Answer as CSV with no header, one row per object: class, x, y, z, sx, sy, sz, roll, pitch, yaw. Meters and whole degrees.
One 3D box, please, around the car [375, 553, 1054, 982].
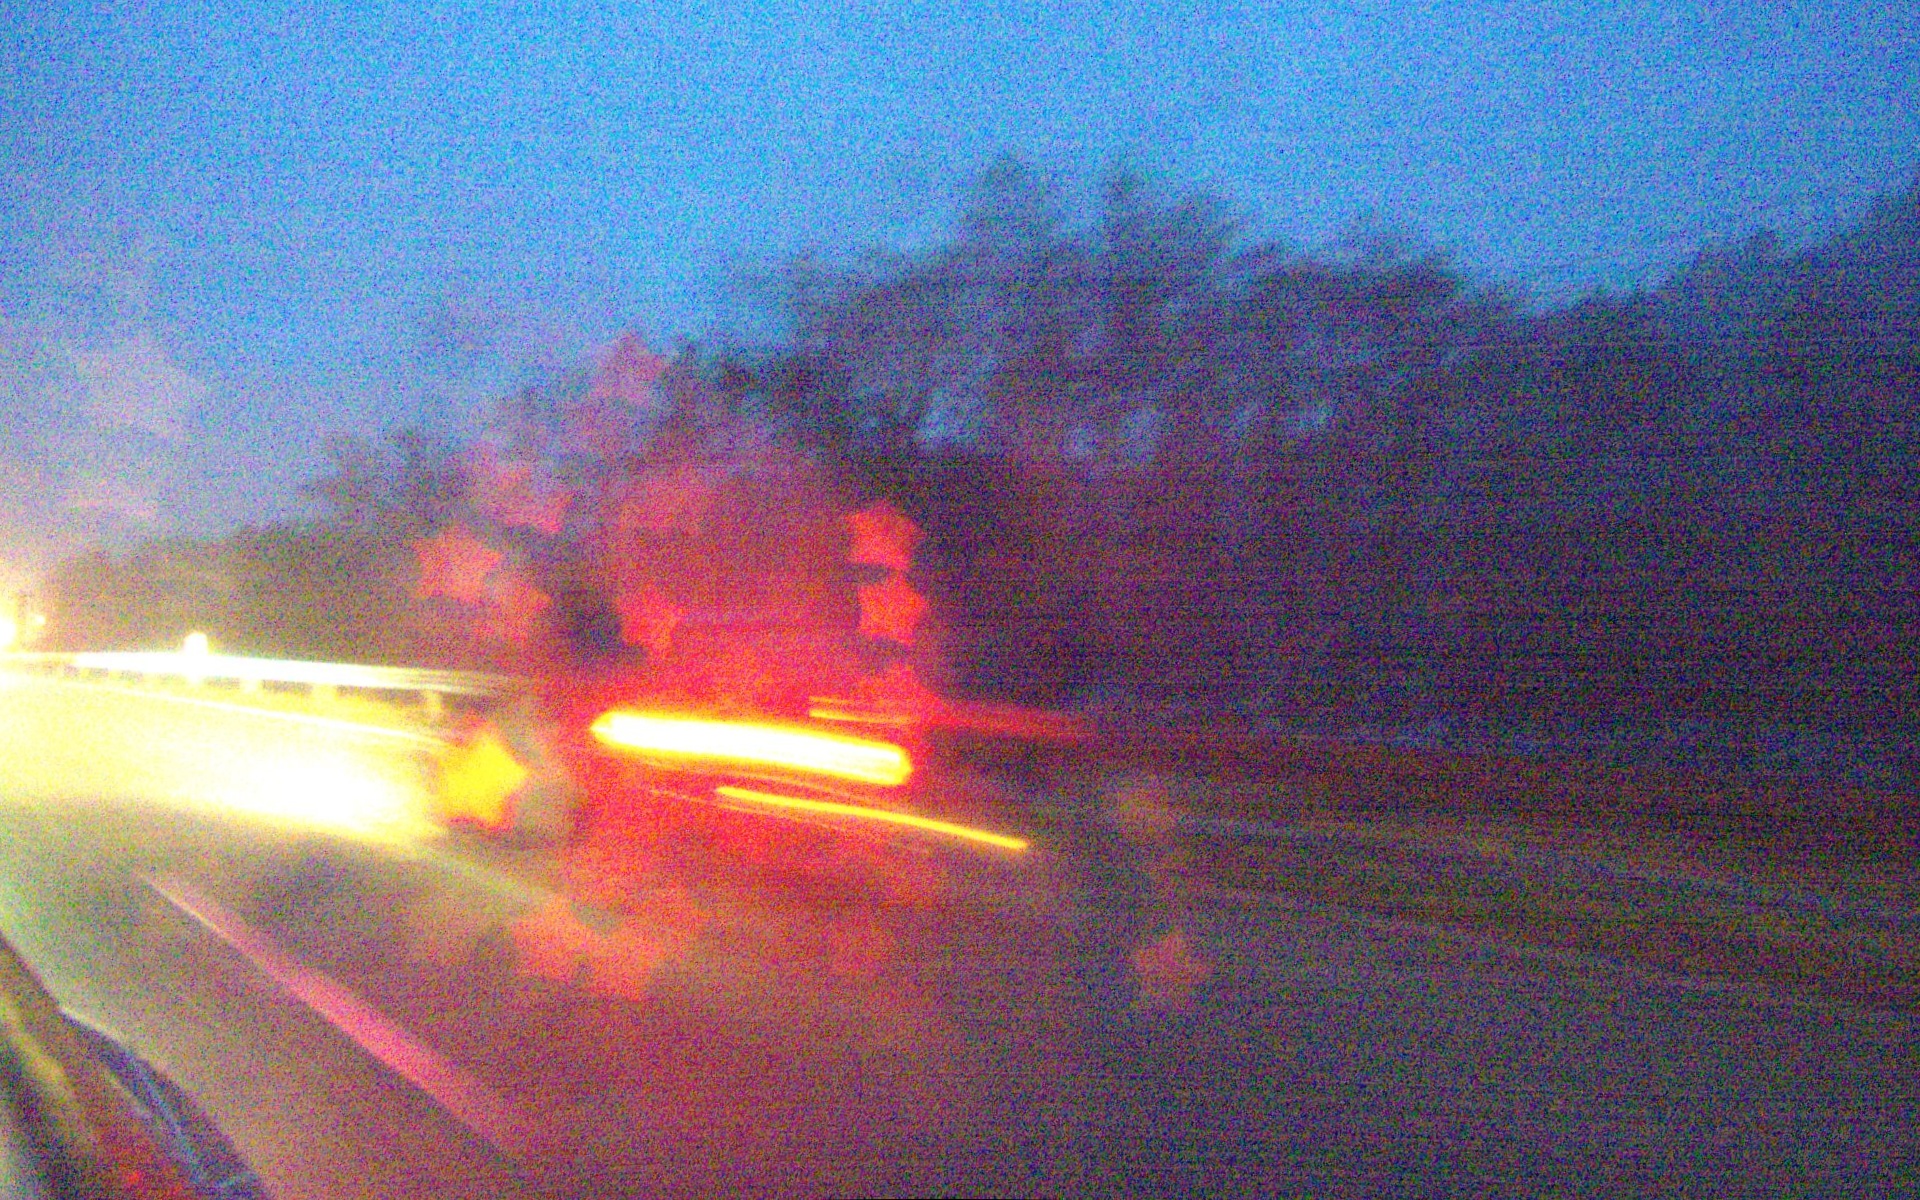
car,-1.548,0.678,5.555,3.876,1.529,1.698,-2,-4,41
